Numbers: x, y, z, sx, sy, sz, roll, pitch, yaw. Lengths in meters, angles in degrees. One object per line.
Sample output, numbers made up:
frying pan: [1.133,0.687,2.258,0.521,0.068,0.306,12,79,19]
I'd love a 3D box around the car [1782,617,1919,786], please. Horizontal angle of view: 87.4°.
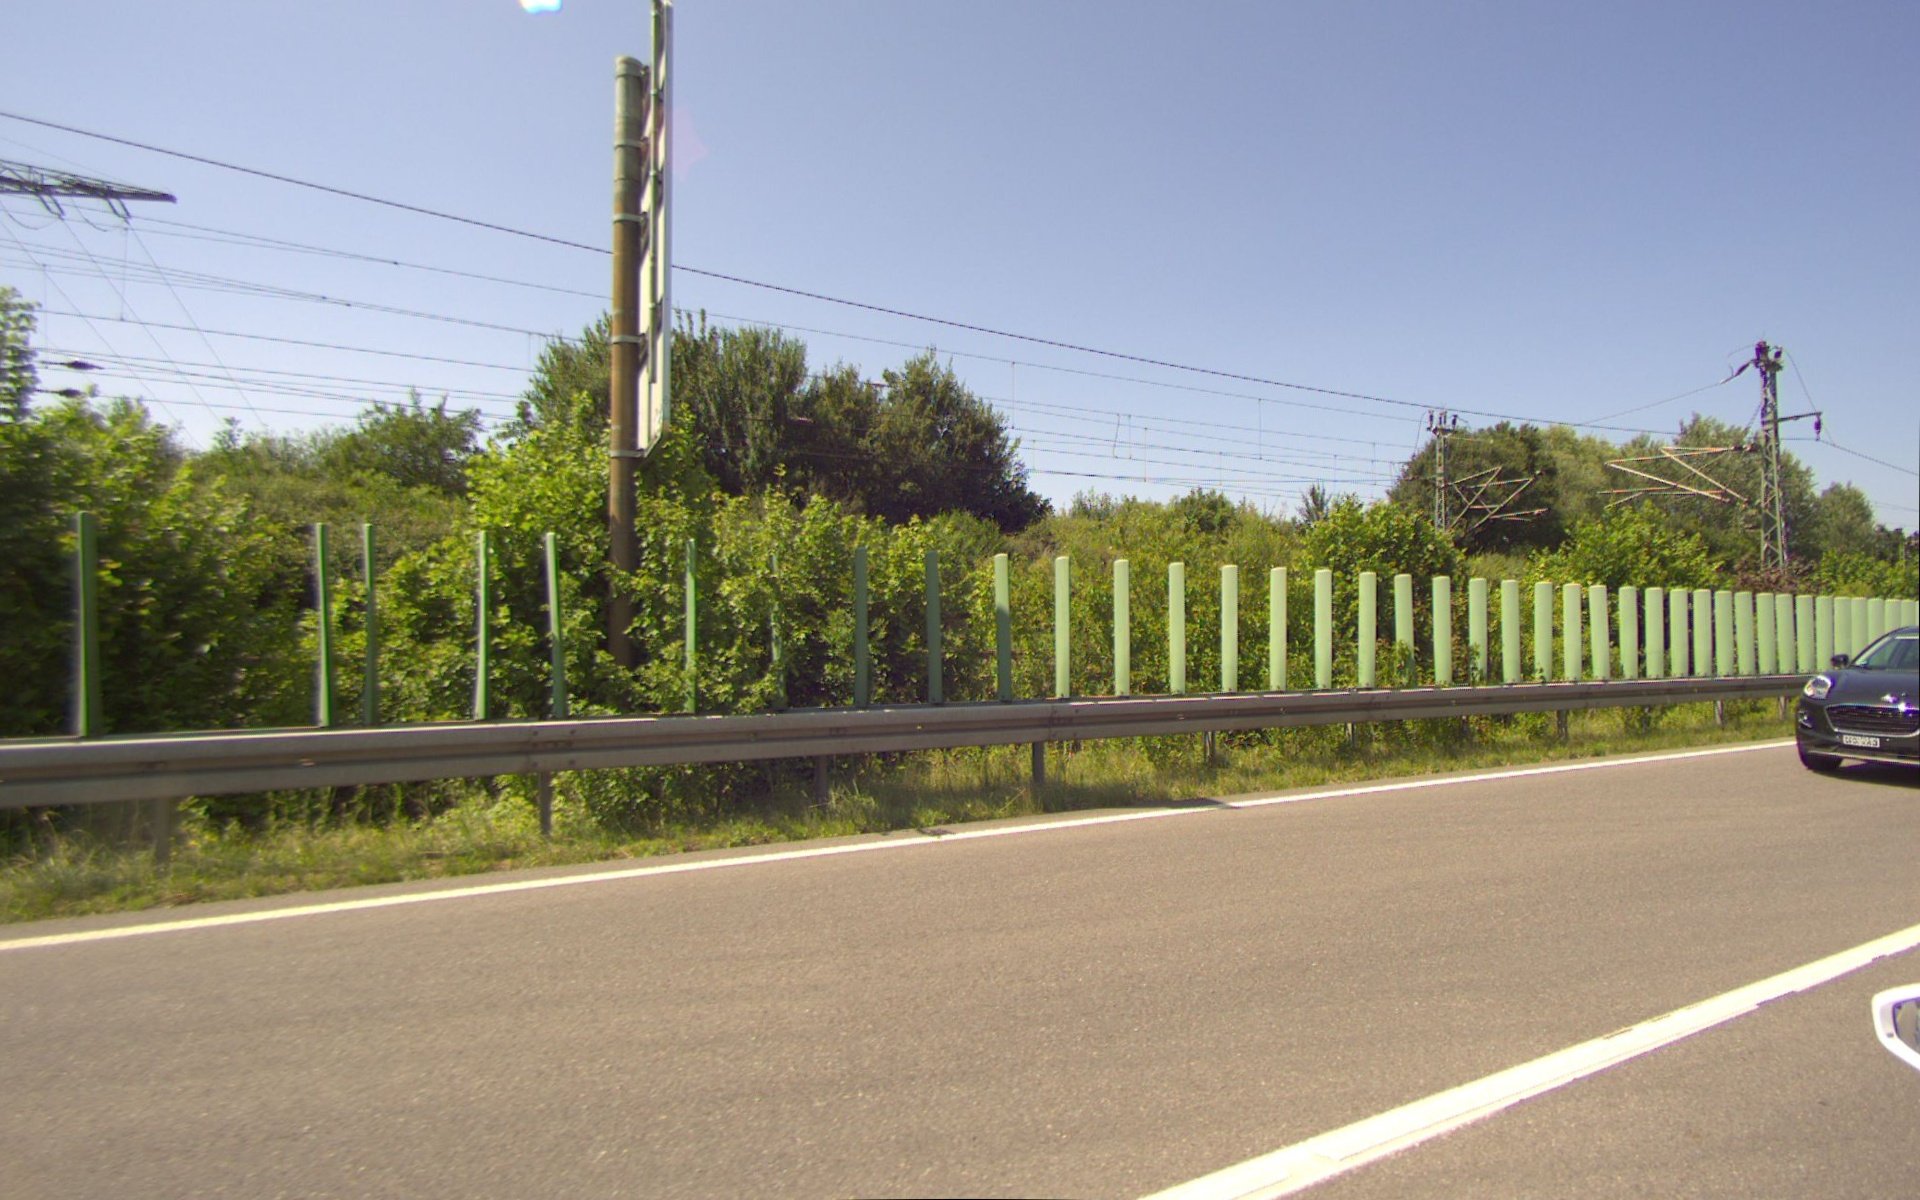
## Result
car: [10.516,0.976,10.470,4.239,1.535,1.665,1,-1,-30]
